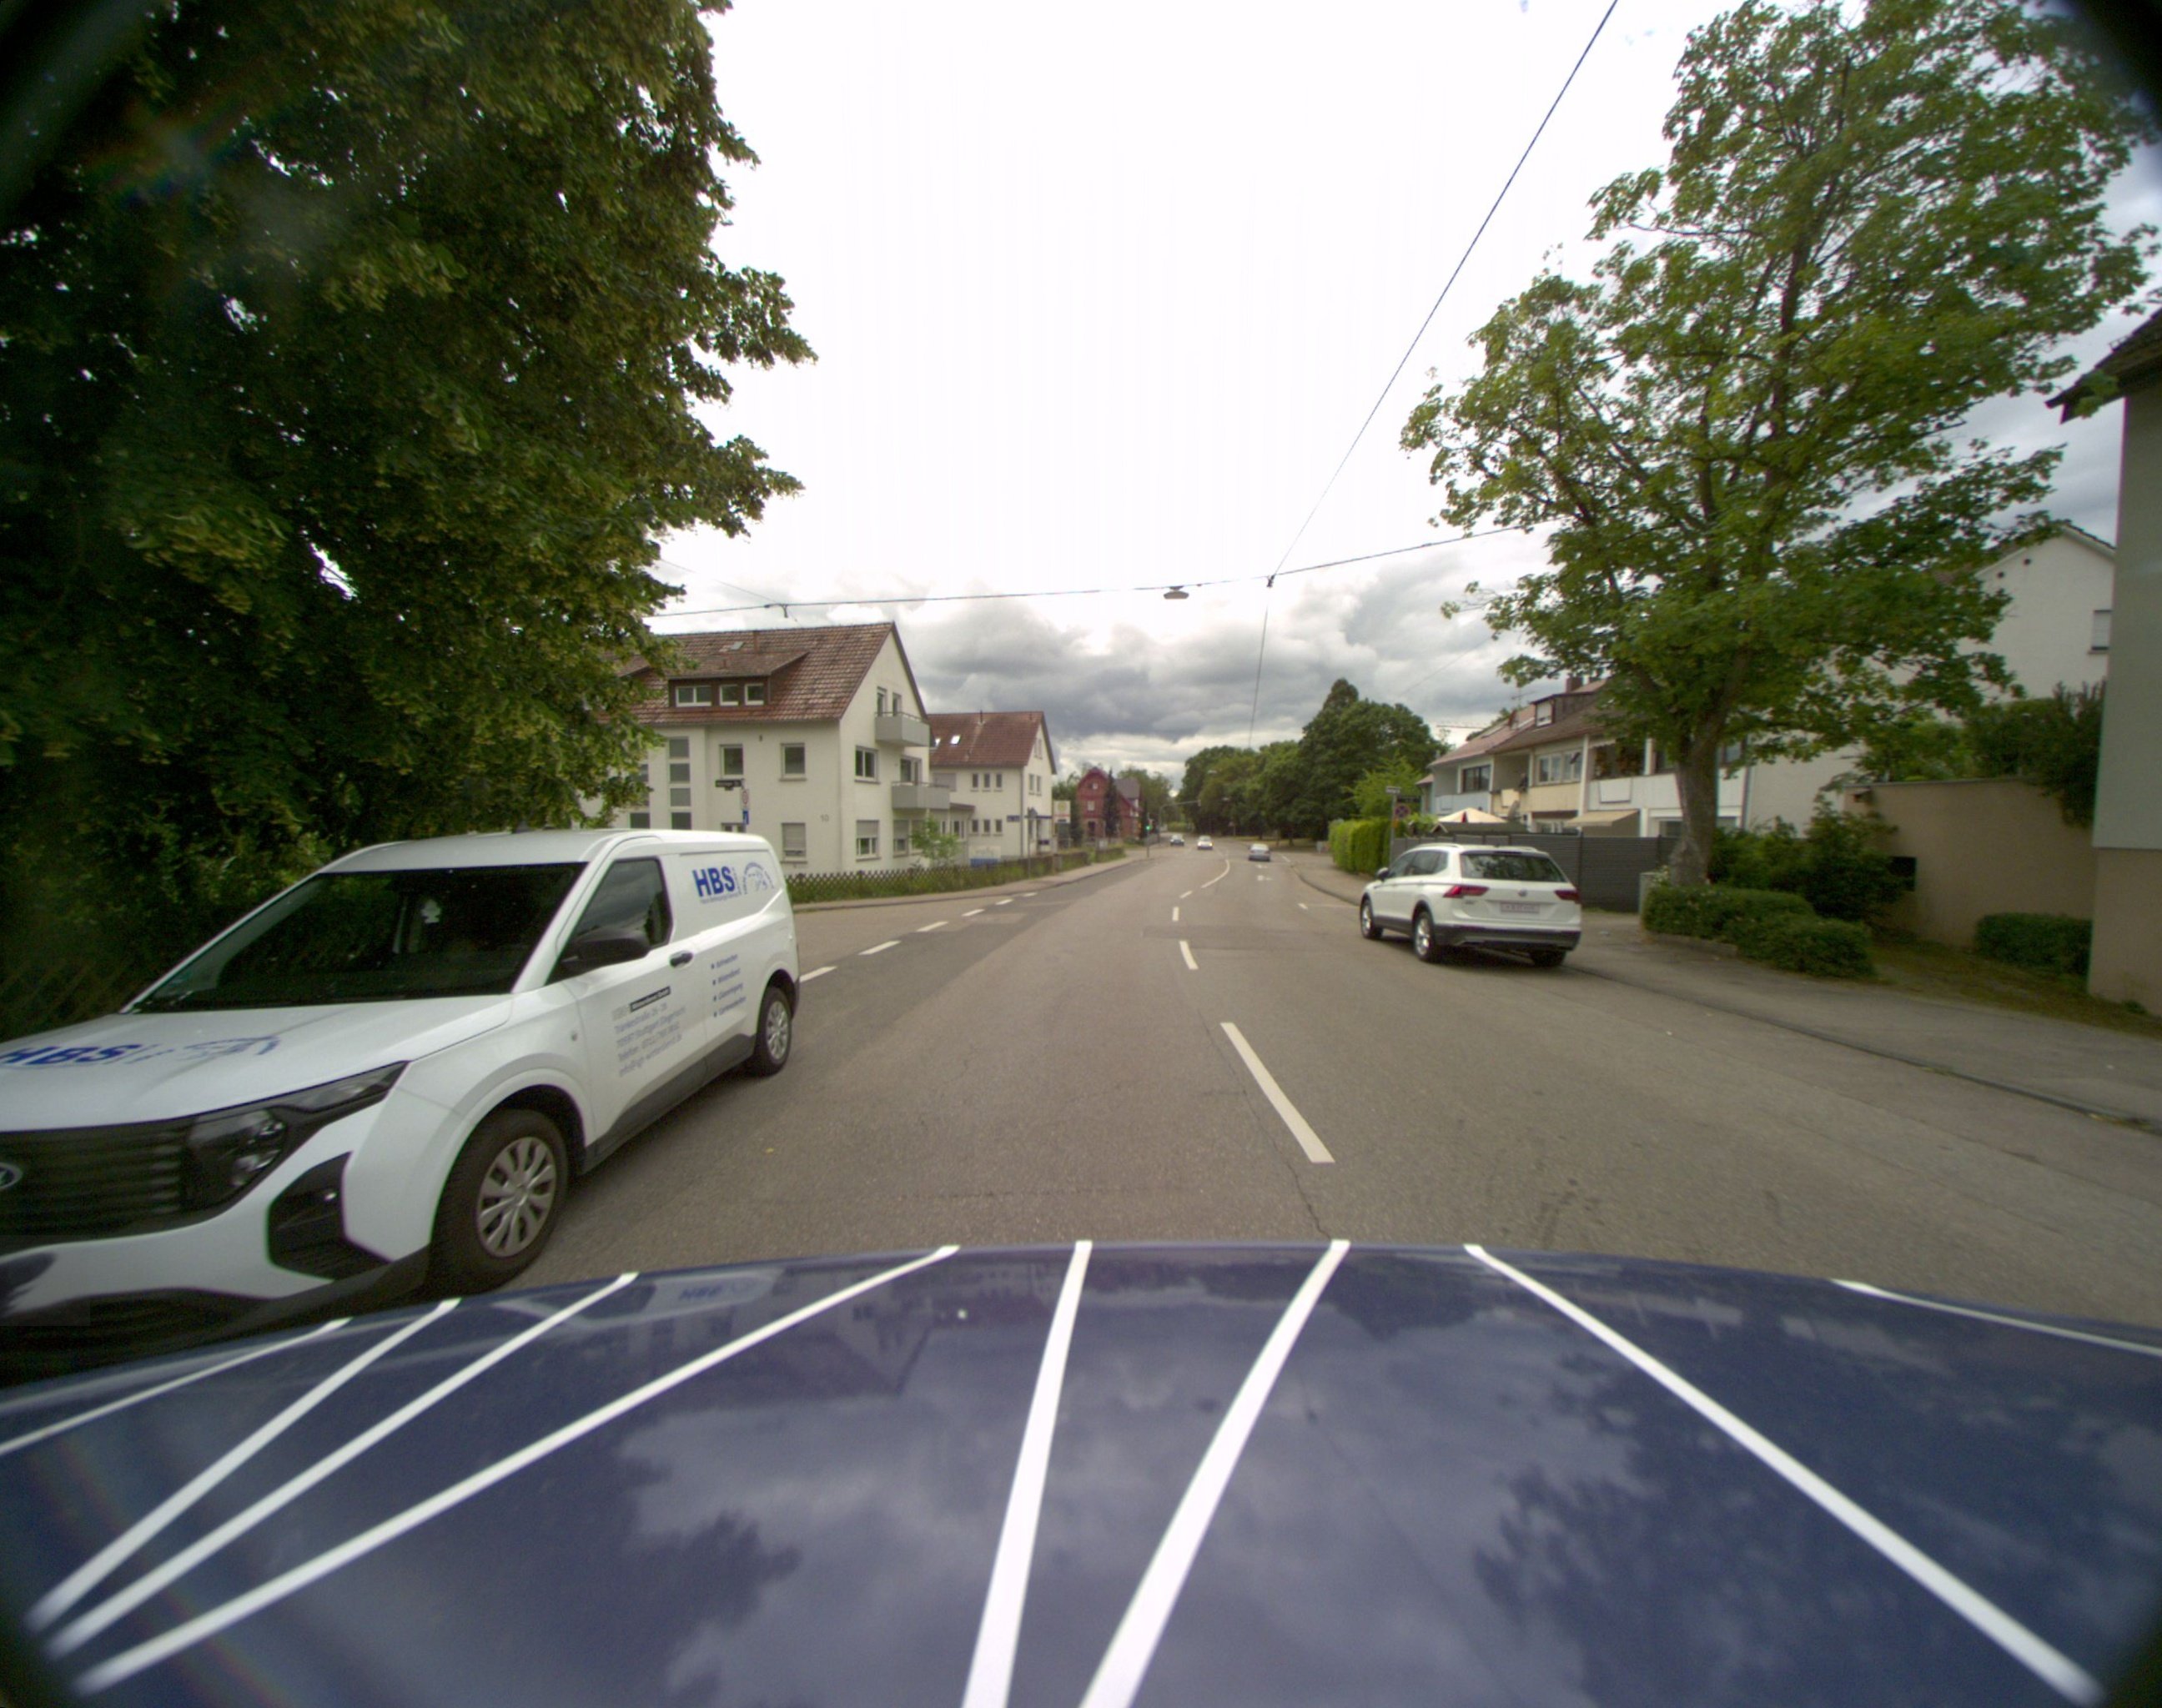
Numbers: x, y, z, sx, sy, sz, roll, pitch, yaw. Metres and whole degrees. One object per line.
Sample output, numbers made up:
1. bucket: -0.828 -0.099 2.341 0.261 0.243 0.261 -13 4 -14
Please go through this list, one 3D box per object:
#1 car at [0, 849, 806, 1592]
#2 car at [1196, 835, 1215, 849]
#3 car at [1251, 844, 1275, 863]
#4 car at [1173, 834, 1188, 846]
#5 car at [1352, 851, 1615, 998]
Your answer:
1. car: -3.097 0.912 3.955 1.843 1.764 4.316 -3 0 -2
2. car: 14.715 -1.391 89.694 1.779 1.510 3.557 -2 3 3
3. car: 14.933 -0.041 62.258 1.714 1.346 4.087 4 2 15
4. car: 13.357 -1.868 101.918 1.925 1.510 4.001 0 3 9
5. car: 5.748 0.857 11.635 1.853 1.704 4.576 2 1 5
